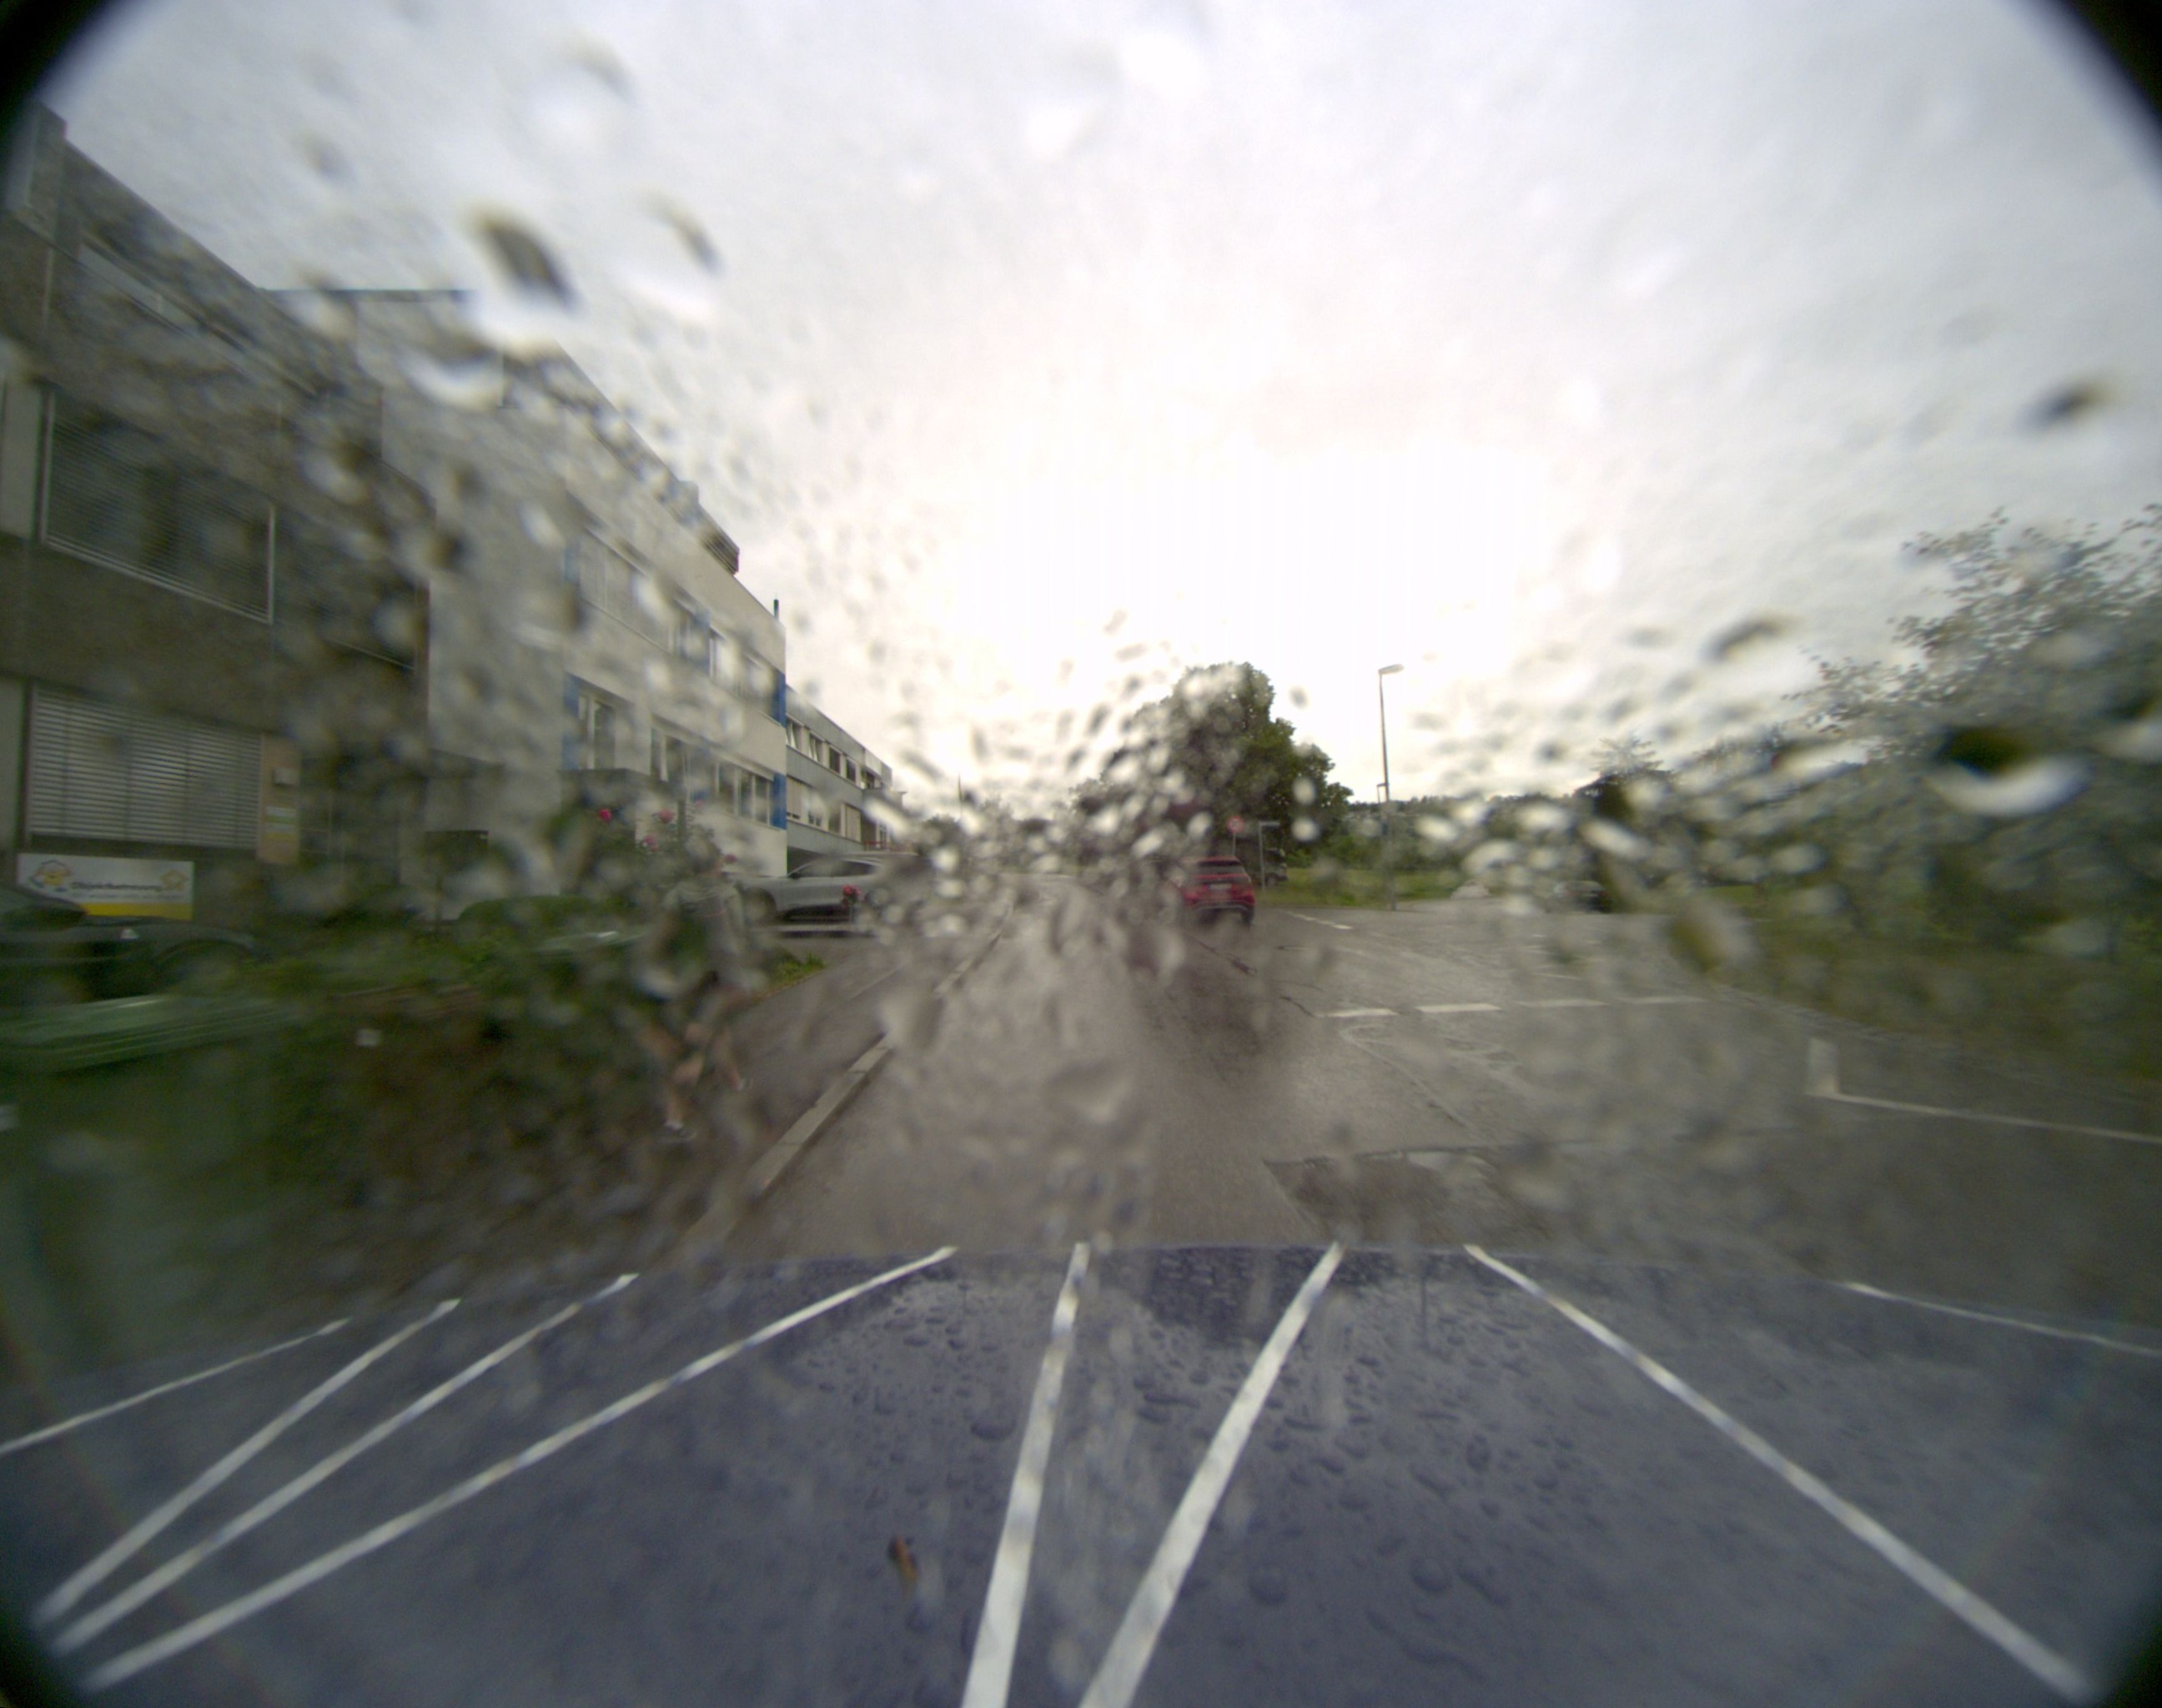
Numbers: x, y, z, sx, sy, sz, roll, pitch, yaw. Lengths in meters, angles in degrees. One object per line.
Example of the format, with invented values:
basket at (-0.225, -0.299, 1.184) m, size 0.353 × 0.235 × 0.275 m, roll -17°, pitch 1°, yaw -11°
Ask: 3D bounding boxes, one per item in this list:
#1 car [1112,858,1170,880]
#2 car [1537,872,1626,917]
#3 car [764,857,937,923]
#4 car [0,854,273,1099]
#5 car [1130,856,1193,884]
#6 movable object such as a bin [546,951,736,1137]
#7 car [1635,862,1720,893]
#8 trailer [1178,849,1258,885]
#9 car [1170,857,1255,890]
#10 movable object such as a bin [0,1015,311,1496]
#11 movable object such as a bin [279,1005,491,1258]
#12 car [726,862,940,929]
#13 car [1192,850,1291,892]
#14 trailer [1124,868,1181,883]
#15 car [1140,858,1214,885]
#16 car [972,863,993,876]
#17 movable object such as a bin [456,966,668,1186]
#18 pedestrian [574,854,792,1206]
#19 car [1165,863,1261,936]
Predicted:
car at (4.881, 1.218, 62.219) m, size 4.381 × 1.711 × 2.043 m, roll -1°, pitch 0°, yaw -8°
car at (20.897, 1.737, 31.956) m, size 1.996 × 1.741 × 4.393 m, roll -1°, pitch -4°, yaw 18°
car at (-6.513, 0.989, 21.899) m, size 4.353 × 1.762 × 2.088 m, roll -1°, pitch 0°, yaw -3°
car at (-8.564, 0.885, 4.995) m, size 1.753 × 1.739 × 4.472 m, roll -1°, pitch 0°, yaw -2°
car at (5.721, 1.118, 54.323) m, size 4.085 × 1.711 × 2.025 m, roll -3°, pitch 0°, yaw -3°
movable object such as a bin at (-2.887, 1.220, 5.076) m, size 0.773 × 1.024 × 0.808 m, roll -1°, pitch 0°, yaw 0°
car at (43.513, 1.692, 55.516) m, size 4.493 × 2.207 × 1.933 m, roll 0°, pitch -1°, yaw 18°
trailer at (7.923, 0.730, 44.163) m, size 4.224 × 1.972 × 1.773 m, roll -1°, pitch 0°, yaw -4°
car at (7.120, 1.031, 41.240) m, size 4.209 × 1.711 × 1.754 m, roll -1°, pitch 0°, yaw -7°
movable object such as a bin at (-3.108, 1.133, 2.368) m, size 0.730 × 1.107 × 0.704 m, roll -2°, pitch 0°, yaw 15°
movable object such as a bin at (-3.141, 1.224, 3.468) m, size 0.473 × 0.961 × 0.514 m, roll -1°, pitch 0°, yaw 0°
car at (-5.990, 0.979, 18.828) m, size 4.609 × 1.529 × 2.079 m, roll 1°, pitch 0°, yaw -2°
car at (7.580, 0.786, 36.189) m, size 4.310 × 1.895 × 1.862 m, roll -1°, pitch 0°, yaw 1°
trailer at (5.339, 1.612, 56.952) m, size 3.953 × 0.955 × 1.999 m, roll -2°, pitch -1°, yaw -6°
car at (6.481, 1.175, 51.688) m, size 4.631 × 1.580 × 1.805 m, roll -3°, pitch 0°, yaw -4°
car at (-14.268, 2.238, 109.980) m, size 1.819 × 1.717 × 4.643 m, roll -1°, pitch 0°, yaw -22°
movable object such as a bin at (-2.921, 1.223, 4.341) m, size 0.745 × 1.060 × 0.637 m, roll -1°, pitch 0°, yaw 0°
pedestrian at (-2.154, 0.888, 4.224) m, size 0.738 × 1.757 × 0.808 m, roll -1°, pitch 0°, yaw 0°
car at (3.159, 1.047, 18.947) m, size 1.751 × 1.499 × 3.935 m, roll -2°, pitch 0°, yaw 1°
